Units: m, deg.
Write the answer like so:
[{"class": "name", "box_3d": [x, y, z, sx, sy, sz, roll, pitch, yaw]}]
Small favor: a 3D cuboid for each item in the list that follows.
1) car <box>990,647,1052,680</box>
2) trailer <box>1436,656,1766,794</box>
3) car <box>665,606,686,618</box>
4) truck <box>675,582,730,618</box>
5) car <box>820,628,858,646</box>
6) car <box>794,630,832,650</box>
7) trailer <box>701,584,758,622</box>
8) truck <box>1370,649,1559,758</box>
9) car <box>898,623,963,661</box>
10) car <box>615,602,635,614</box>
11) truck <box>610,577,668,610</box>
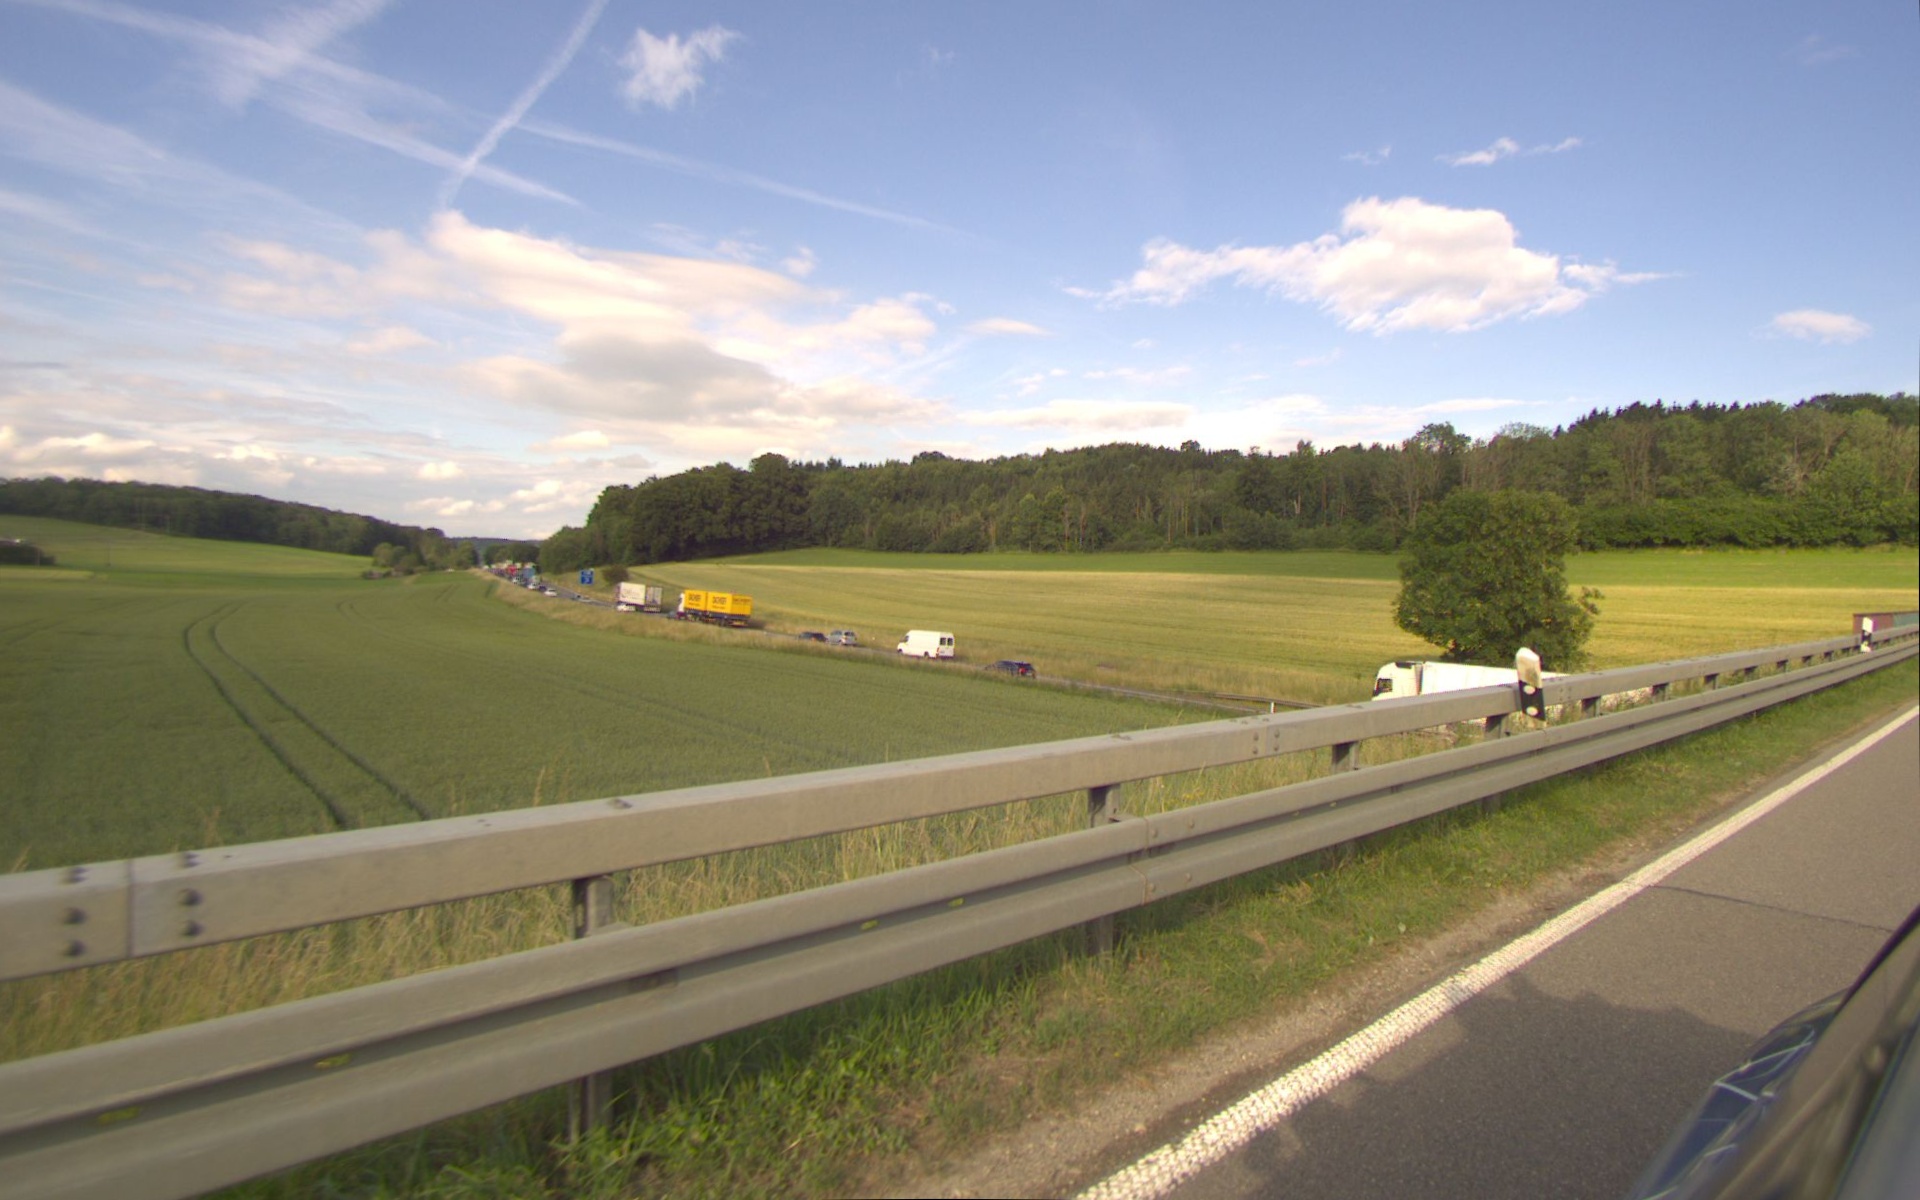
[{"class": "car", "box_3d": [4.206, 4.392, 70.161, 1.747, 1.722, 4.368, -1, 4, -41]}, {"class": "trailer", "box_3d": [29.647, 5.522, 47.847, 2.977, 4.524, 12.719, 4, 0, -39]}, {"class": "car", "box_3d": [-34.082, 1.482, 121.320, 1.353, 1.283, 3.098, 1, 1, -37]}, {"class": "truck", "box_3d": [-33.104, -0.121, 129.938, 3.764, 4.109, 9.808, -2, 3, -34]}, {"class": "car", "box_3d": [-11.961, 3.635, 99.851, 1.770, 1.487, 3.998, 3, 0, -38]}, {"class": "car", "box_3d": [-13.499, 3.611, 92.691, 1.652, 1.538, 3.997, 1, 1, -39]}, {"class": "trailer", "box_3d": [-27.910, 0.286, 122.180, 3.764, 4.109, 9.134, -2, 3, -34]}, {"class": "truck", "box_3d": [25.940, 5.182, 52.462, 2.974, 4.524, 8.051, 4, 0, -39]}, {"class": "car", "box_3d": [-2.635, 3.594, 87.760, 2.329, 2.617, 6.123, 6, -1, -37]}, {"class": "car", "box_3d": [-45.679, 1.085, 137.908, 1.579, 1.412, 3.325, 1, 1, -39]}, {"class": "truck", "box_3d": [-48.840, -1.141, 153.535, 4.005, 4.043, 14.427, -4, 5, -36]}]
